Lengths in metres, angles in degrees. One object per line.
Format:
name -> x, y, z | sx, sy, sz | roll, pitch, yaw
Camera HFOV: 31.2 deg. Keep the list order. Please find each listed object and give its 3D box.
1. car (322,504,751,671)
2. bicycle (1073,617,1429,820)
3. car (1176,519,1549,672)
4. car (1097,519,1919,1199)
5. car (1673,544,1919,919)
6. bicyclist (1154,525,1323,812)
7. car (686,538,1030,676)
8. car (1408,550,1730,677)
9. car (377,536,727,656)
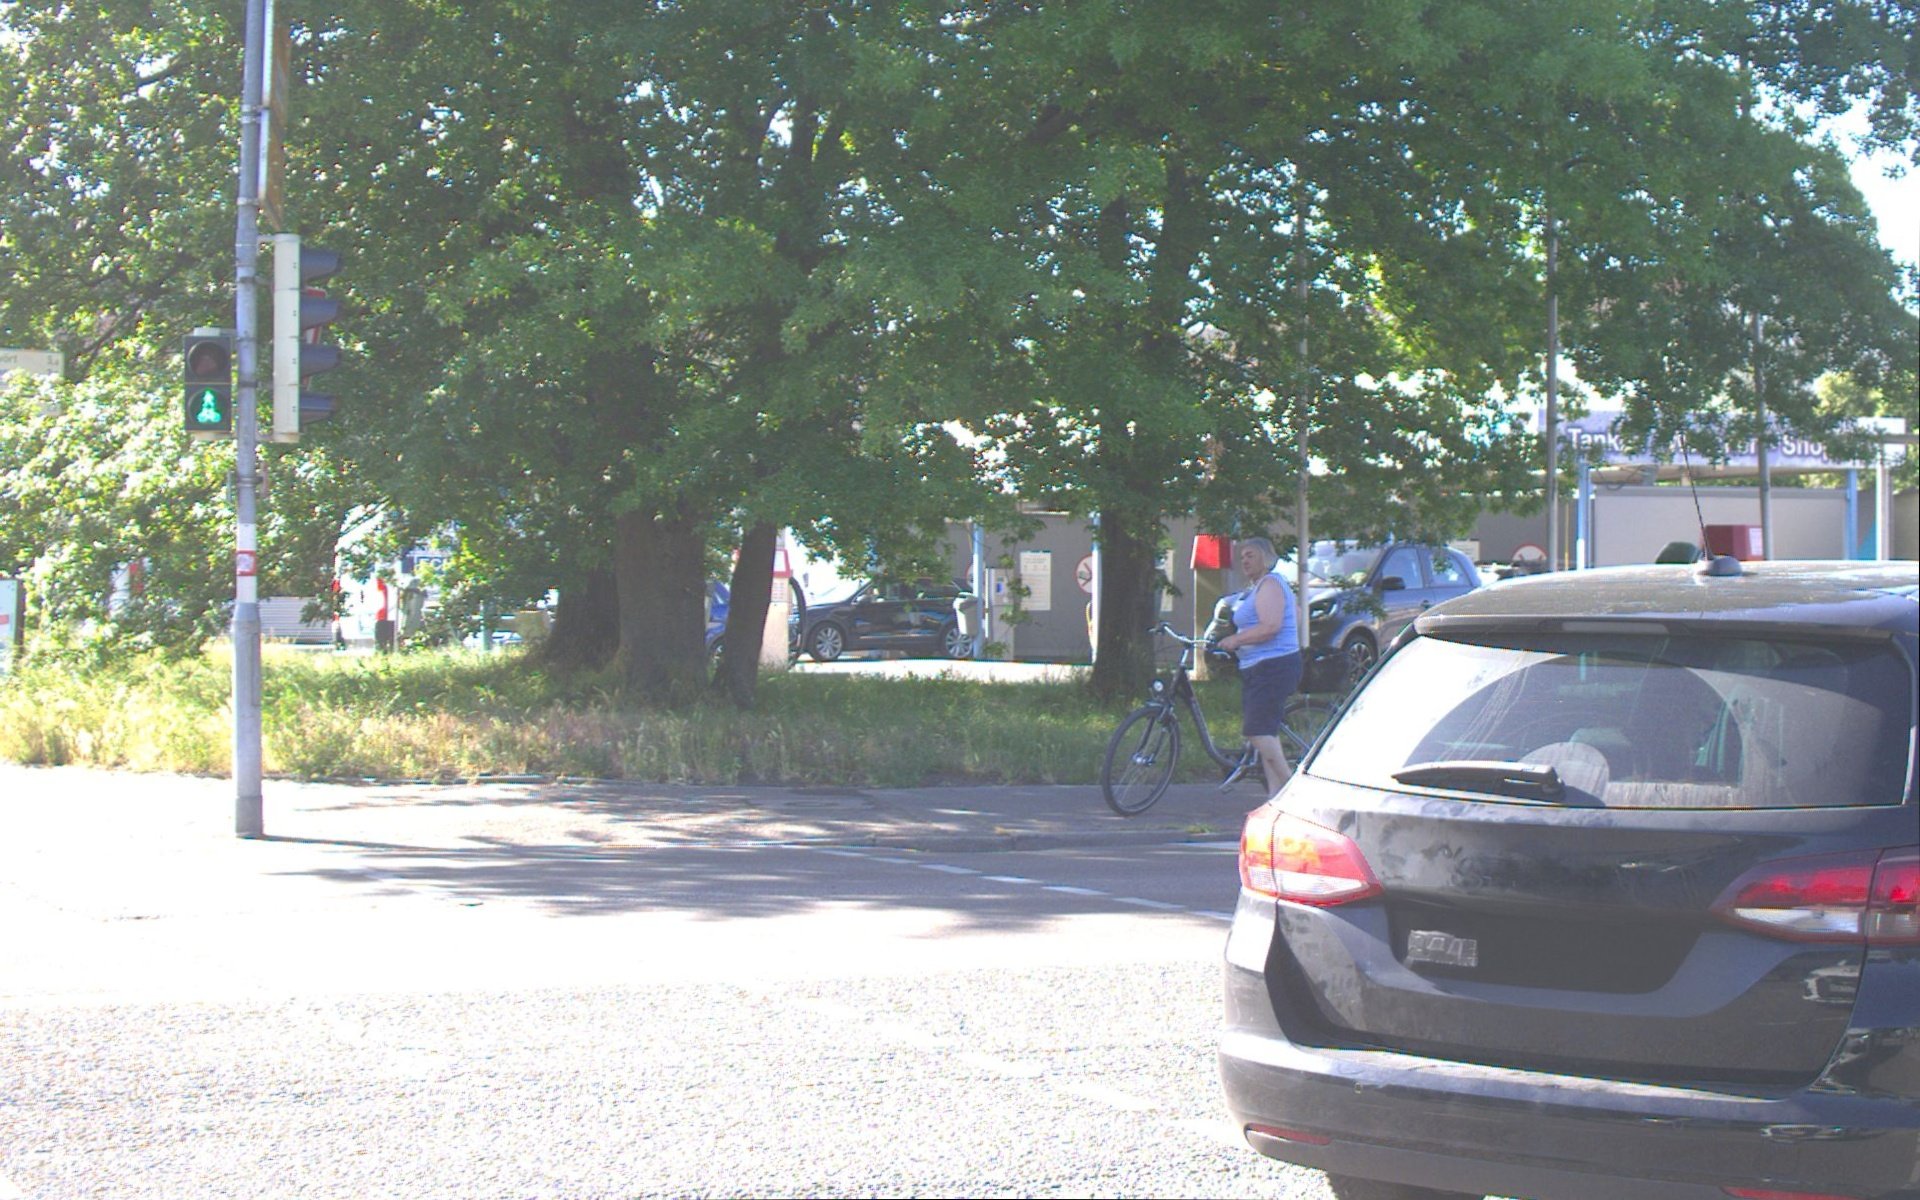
car -> -5.989, -0.140, 48.840 | 5.634, 2.092, 2.000 | 3, -1, -27
bicycle -> 1.694, 0.671, 19.973 | 2.019, 1.138, 0.529 | 0, 0, -19
car -> 4.099, -0.025, 34.583 | 1.758, 1.371, 3.990 | 1, -1, 41
car -> 2.266, 0.609, 7.793 | 1.765, 1.486, 4.281 | 2, 1, 37
car -> 5.778, 0.538, 15.079 | 4.872, 1.484, 1.843 | 0, -1, -14
bicyclist -> 1.612, 0.389, 19.944 | 0.827, 1.636, 0.543 | 0, 0, -20
car -> -1.218, 0.103, 42.100 | 3.987, 1.507, 1.532 | 3, -1, -36
car -> 8.517, 0.203, 48.066 | 3.986, 1.601, 2.000 | 3, -1, -27
car -> -5.140, -0.039, 43.485 | 3.987, 1.331, 1.799 | 3, -1, -37
